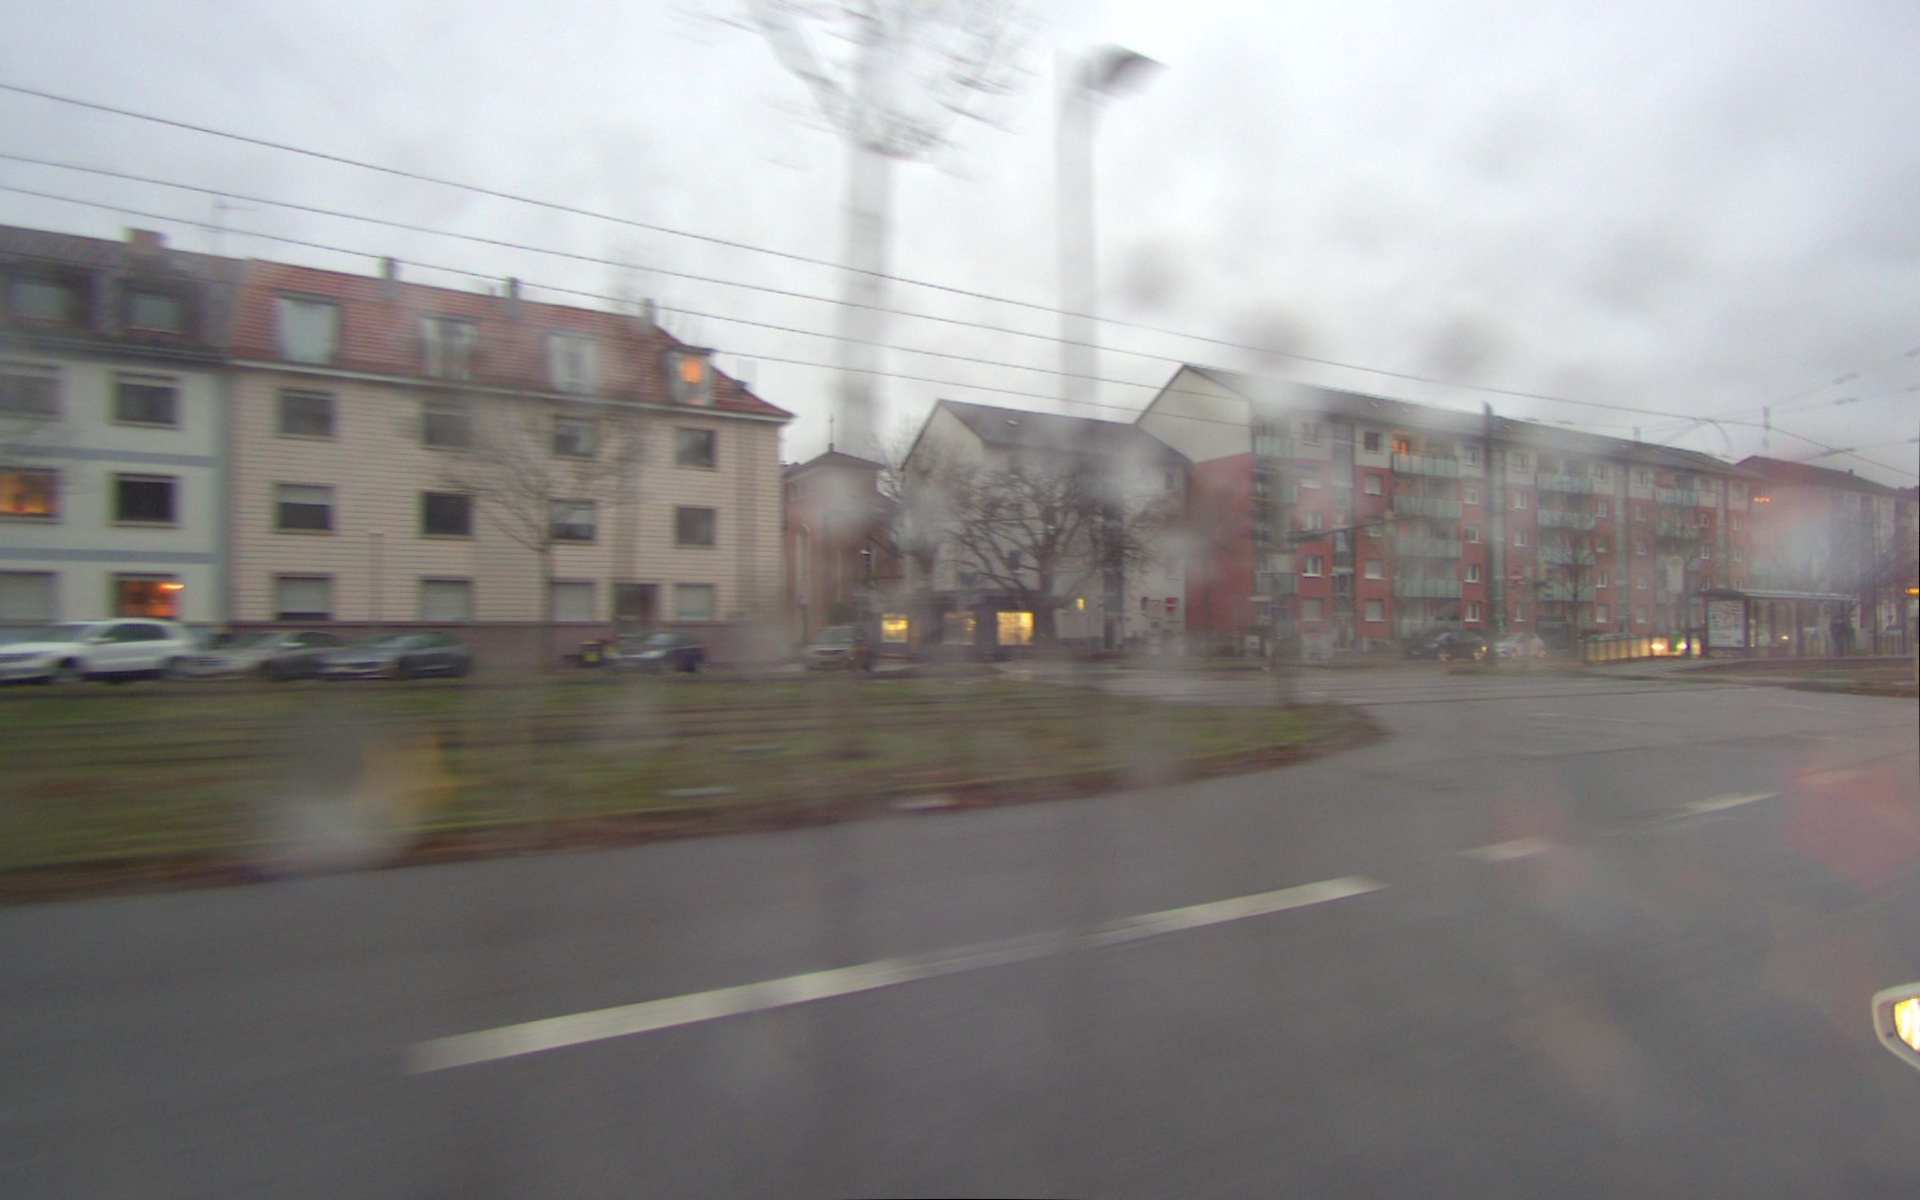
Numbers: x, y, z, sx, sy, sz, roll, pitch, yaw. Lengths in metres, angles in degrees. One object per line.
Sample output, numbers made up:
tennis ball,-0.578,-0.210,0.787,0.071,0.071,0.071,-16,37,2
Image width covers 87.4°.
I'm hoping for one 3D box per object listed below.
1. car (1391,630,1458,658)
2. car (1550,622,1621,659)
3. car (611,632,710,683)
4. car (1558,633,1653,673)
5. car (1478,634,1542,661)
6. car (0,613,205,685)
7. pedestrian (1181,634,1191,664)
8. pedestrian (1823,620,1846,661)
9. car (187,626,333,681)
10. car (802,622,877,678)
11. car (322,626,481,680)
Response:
car,23.511,2.209,50.826,3.346,1.304,1.437,1,0,-30
car,36.566,2.330,58.708,3.957,2.040,1.982,1,0,-33
car,-8.808,1.666,29.818,1.424,1.355,3.770,0,-1,7
car,23.667,1.904,36.816,3.594,1.360,1.437,1,0,-30
car,29.239,2.514,53.404,3.346,1.304,1.437,1,0,-30
car,-20.004,1.053,23.147,1.737,1.397,4.126,1,0,8
pedestrian,9.365,2.029,41.673,0.339,1.200,0.434,1,0,20
pedestrian,35.641,1.647,40.924,0.454,1.678,0.494,1,1,-10
car,-17.034,1.266,24.600,1.369,1.163,3.045,1,0,2
car,-3.807,1.551,32.312,1.707,1.576,3.799,1,0,4
car,-14.292,1.302,25.979,1.648,1.131,4.190,1,0,2
